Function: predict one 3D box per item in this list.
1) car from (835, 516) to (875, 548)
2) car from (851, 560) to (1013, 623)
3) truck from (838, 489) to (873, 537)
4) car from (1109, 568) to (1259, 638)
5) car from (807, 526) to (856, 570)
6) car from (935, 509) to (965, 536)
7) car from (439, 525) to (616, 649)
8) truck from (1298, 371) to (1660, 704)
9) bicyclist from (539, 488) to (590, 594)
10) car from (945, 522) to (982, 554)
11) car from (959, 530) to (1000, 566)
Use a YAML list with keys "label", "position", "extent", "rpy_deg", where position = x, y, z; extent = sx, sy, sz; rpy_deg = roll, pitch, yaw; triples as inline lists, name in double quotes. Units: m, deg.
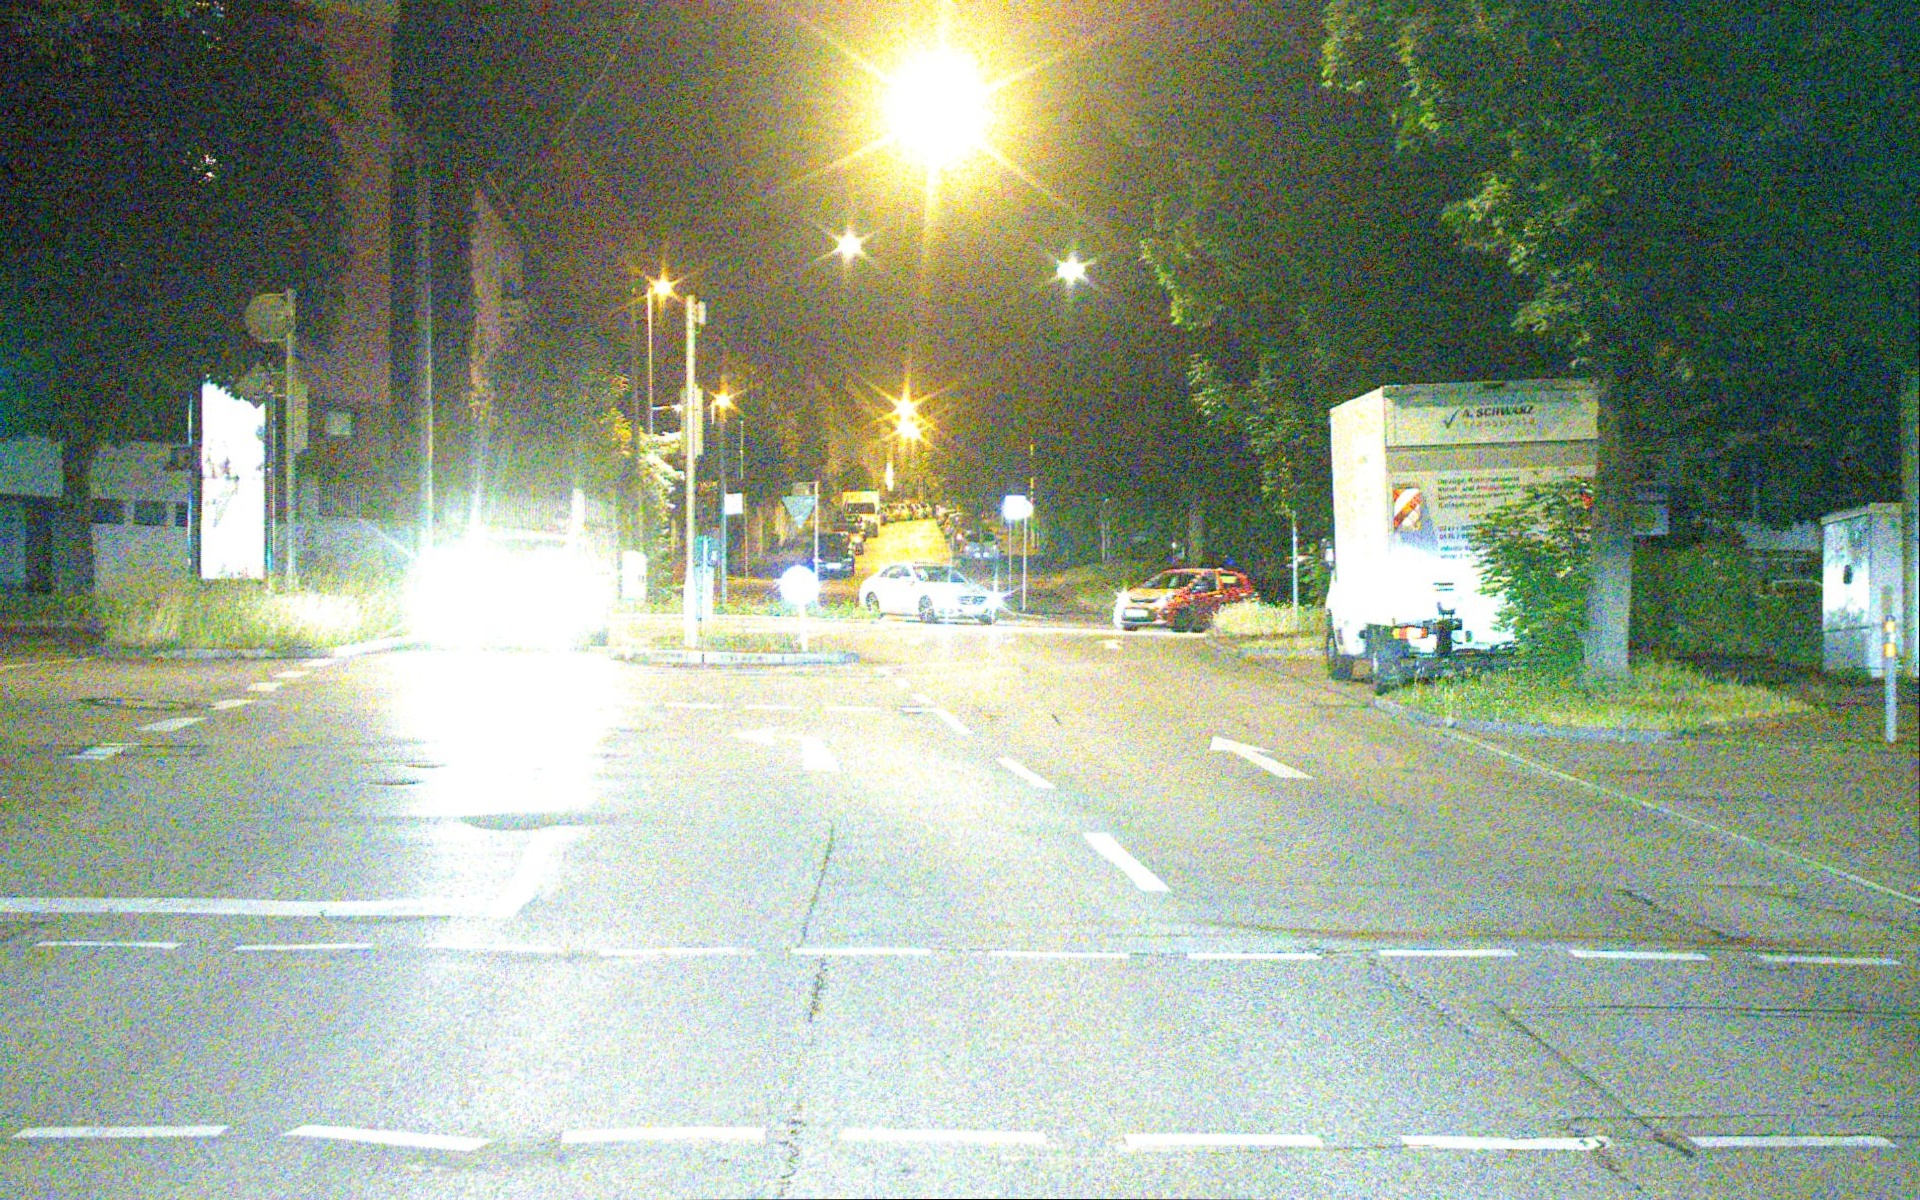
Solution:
- label: "car"
  position: [-4.952, -3.202, 161.724]
  extent: [1.815, 1.486, 4.001]
  rpy_deg: [1, 1, -2]
- label: "car"
  position: [-0.714, -0.218, 82.384]
  extent: [1.916, 1.384, 4.583]
  rpy_deg: [0, 1, -29]
- label: "truck"
  position: [-6.420, -5.301, 210.728]
  extent: [2.086, 2.838, 5.832]
  rpy_deg: [1, 1, -2]
- label: "car"
  position: [4.986, 0.046, 76.239]
  extent: [1.585, 1.496, 3.388]
  rpy_deg: [2, 2, 41]
- label: "car"
  position: [-5.053, -2.073, 135.612]
  extent: [1.815, 1.678, 4.000]
  rpy_deg: [1, 1, -1]
- label: "car"
  position: [-0.555, -4.343, 192.634]
  extent: [1.634, 1.447, 3.485]
  rpy_deg: [1, 1, -1]
- label: "car"
  position: [-5.631, -0.197, 45.194]
  extent: [1.857, 1.529, 4.028]
  rpy_deg: [1, 1, -1]
- label: "truck"
  position: [5.220, -0.651, 35.670]
  extent: [2.749, 3.100, 6.259]
  rpy_deg: [1, 1, 0]
- label: "bicyclist"
  position: [-6.171, -0.916, 53.631]
  extent: [0.690, 1.631, 0.896]
  rpy_deg: [1, 0, -1]
- label: "car"
  position: [0.165, -2.887, 160.437]
  extent: [1.634, 1.447, 3.485]
  rpy_deg: [1, 1, -1]
- label: "car"
  position: [0.820, -2.201, 144.525]
  extent: [1.634, 1.447, 3.485]
  rpy_deg: [1, 1, -1]
